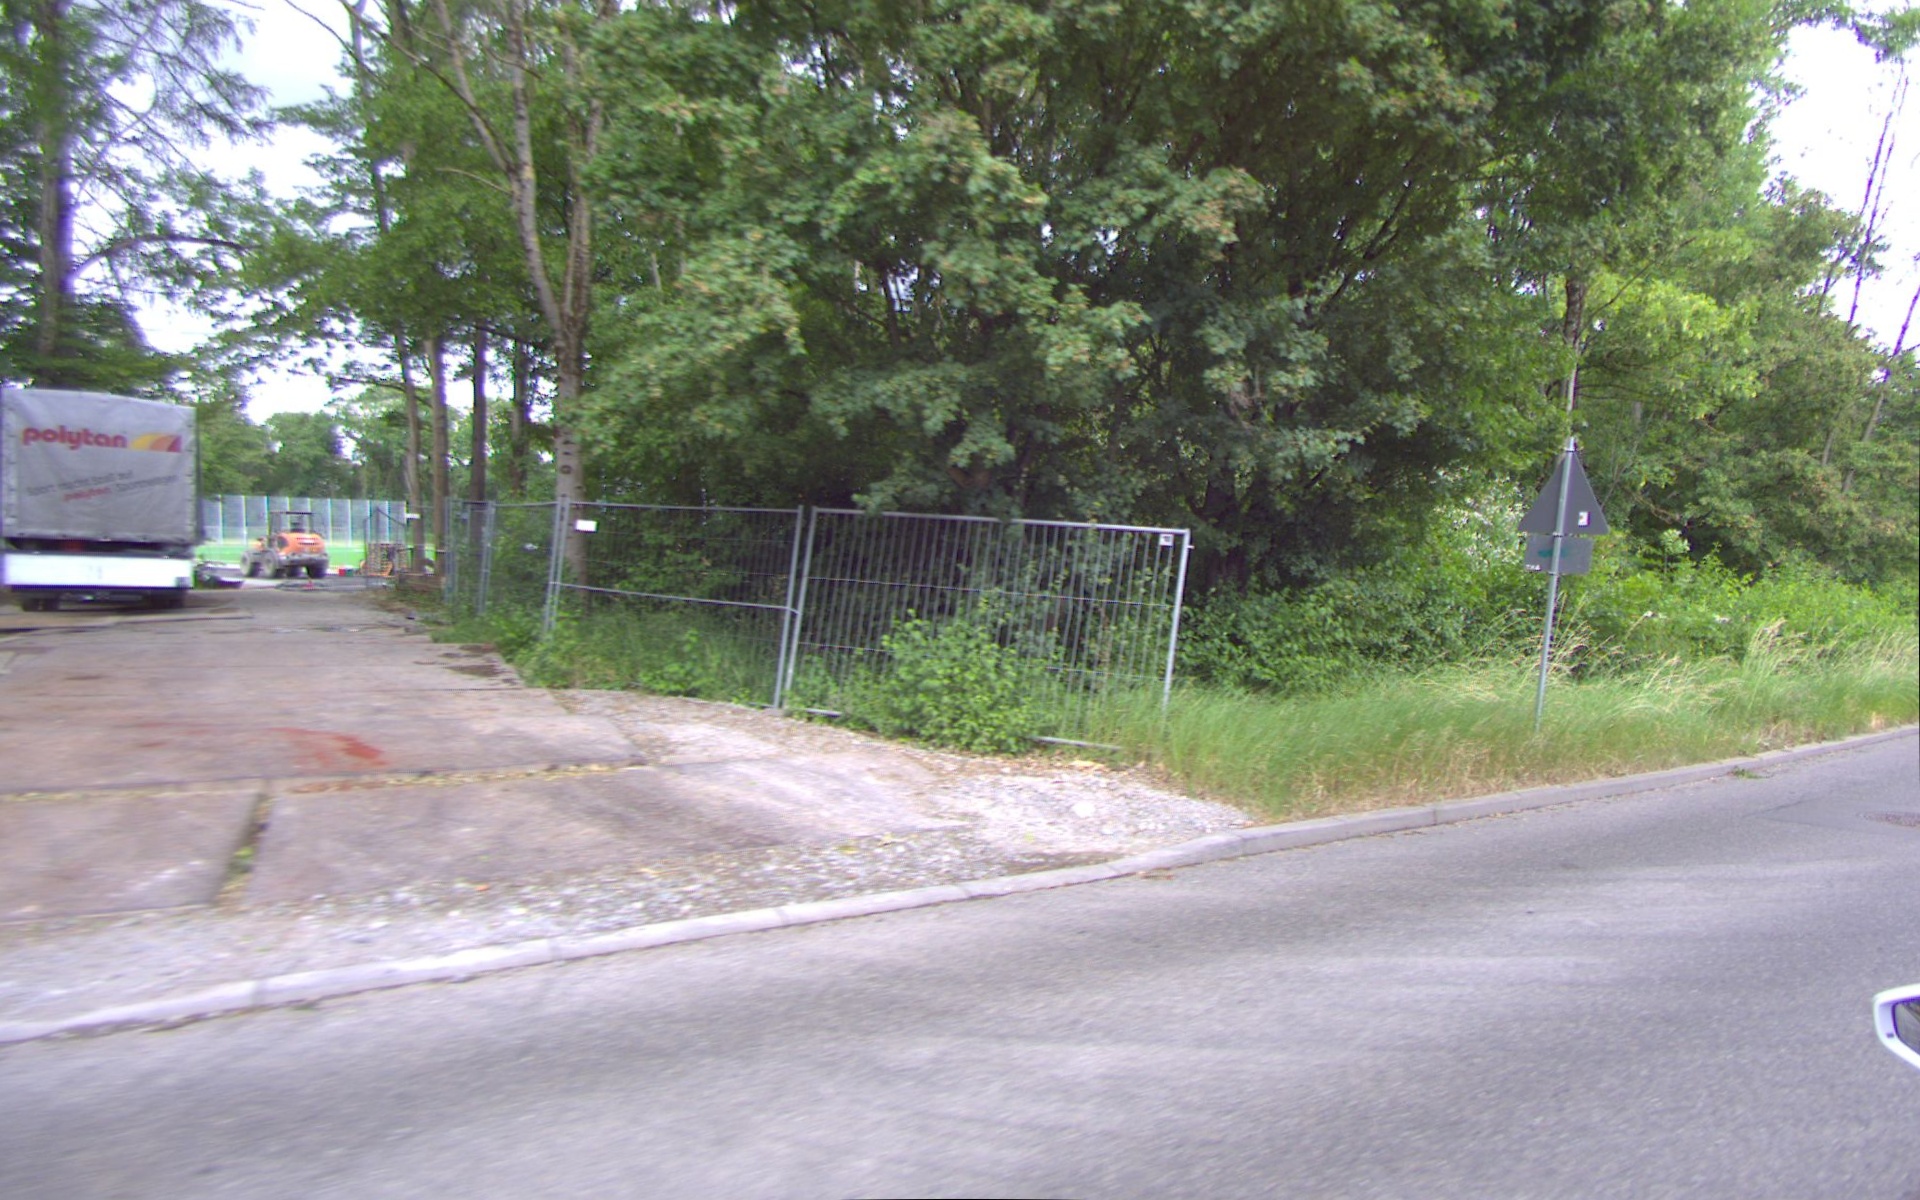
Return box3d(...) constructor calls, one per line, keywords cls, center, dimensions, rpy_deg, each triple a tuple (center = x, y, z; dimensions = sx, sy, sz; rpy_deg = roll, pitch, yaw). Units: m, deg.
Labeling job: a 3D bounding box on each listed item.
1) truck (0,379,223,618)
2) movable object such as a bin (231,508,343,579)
box3d(cls="truck", center=(-14.072, -1.544, 16.723), dimensions=(2.434, 3.243, 5.844), rpy_deg=(-2, 4, -40))
box3d(cls="movable object such as a bin", center=(-26.484, -2.209, 39.534), dimensions=(3.929, 2.625, 2.152), rpy_deg=(3, 2, 31))
